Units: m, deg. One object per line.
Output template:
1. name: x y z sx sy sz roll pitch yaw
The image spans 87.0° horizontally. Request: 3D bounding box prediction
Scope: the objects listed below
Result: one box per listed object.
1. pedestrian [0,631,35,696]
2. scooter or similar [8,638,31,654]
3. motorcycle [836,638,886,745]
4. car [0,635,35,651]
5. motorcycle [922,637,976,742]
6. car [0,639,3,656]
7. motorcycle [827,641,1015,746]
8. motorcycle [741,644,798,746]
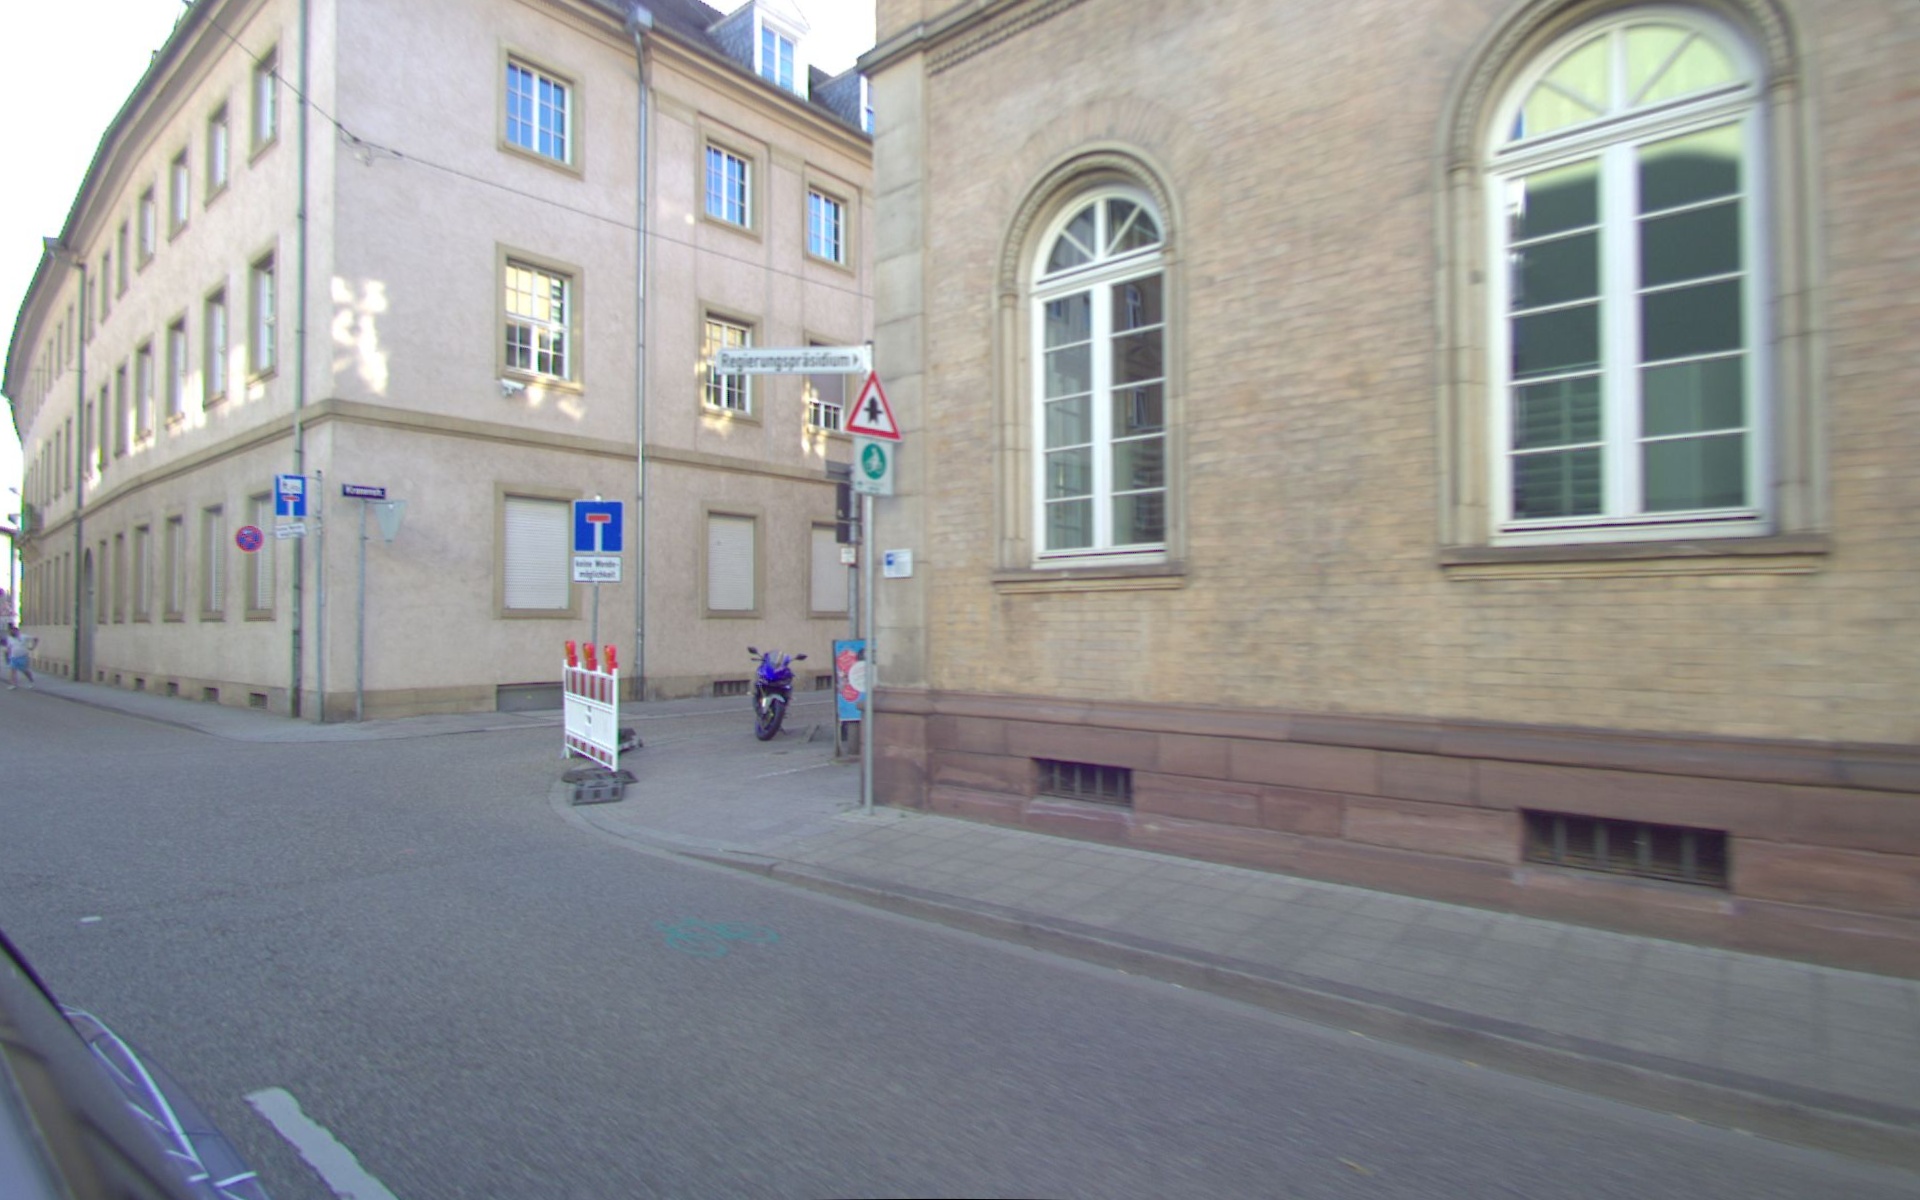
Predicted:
1. pedestrian: -25.381 1.683 27.207 0.875 1.682 0.685 -2 0 44
2. scooter or similar: -72.046 3.541 77.530 0.461 1.234 1.299 0 -3 0
3. motorcycle: -1.299 1.165 13.544 0.579 1.303 2.202 0 -2 -4
4. car: -93.751 4.275 100.504 1.933 1.418 4.209 -2 0 -31
5. motorcycle: -0.174 1.148 13.591 0.579 1.284 2.129 0 -2 -4
6. car: -88.157 4.414 91.373 1.747 1.595 3.867 -5 1 -32
7. motorcycle: -0.467 1.095 12.044 2.168 1.182 0.660 0 -2 -3
8. motorcycle: -2.499 1.205 13.472 0.578 1.182 2.287 -3 -2 -8
